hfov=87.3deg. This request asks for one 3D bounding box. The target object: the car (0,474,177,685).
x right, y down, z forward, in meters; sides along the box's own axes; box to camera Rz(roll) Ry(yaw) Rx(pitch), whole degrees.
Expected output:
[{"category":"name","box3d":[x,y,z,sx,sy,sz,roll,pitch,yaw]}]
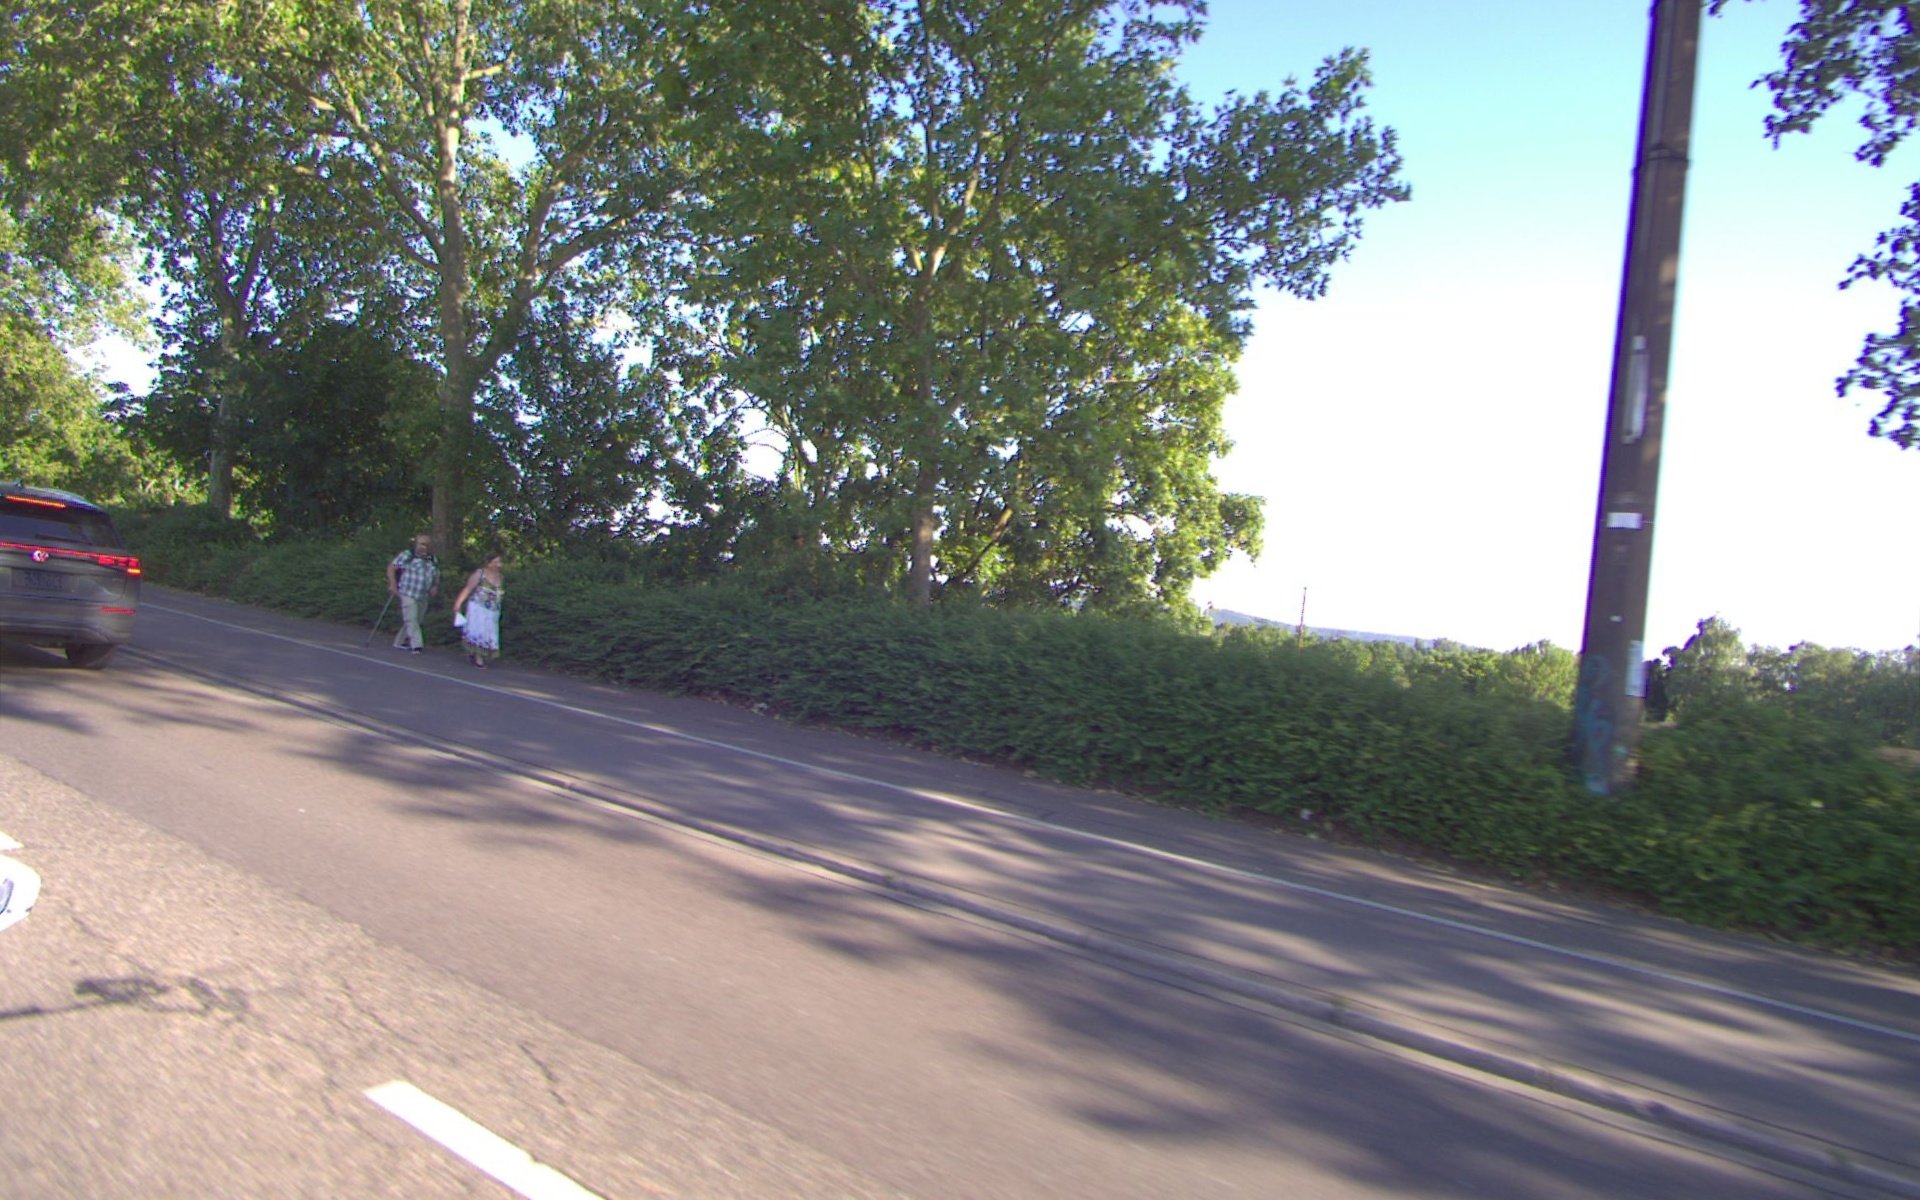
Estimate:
[{"category":"car","box3d":[-9.590,-0.389,9.522,4.365,1.680,1.849,7,-2,31]}]

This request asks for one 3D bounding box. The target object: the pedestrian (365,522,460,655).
[{"category":"pedestrian","box3d":[-7.629,-0.154,14.021,0.799,1.729,0.723,7,1,31]}]

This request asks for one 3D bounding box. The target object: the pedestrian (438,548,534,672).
[{"category":"pedestrian","box3d":[-6.154,0.137,13.066,0.710,1.499,0.724,7,1,31]}]
